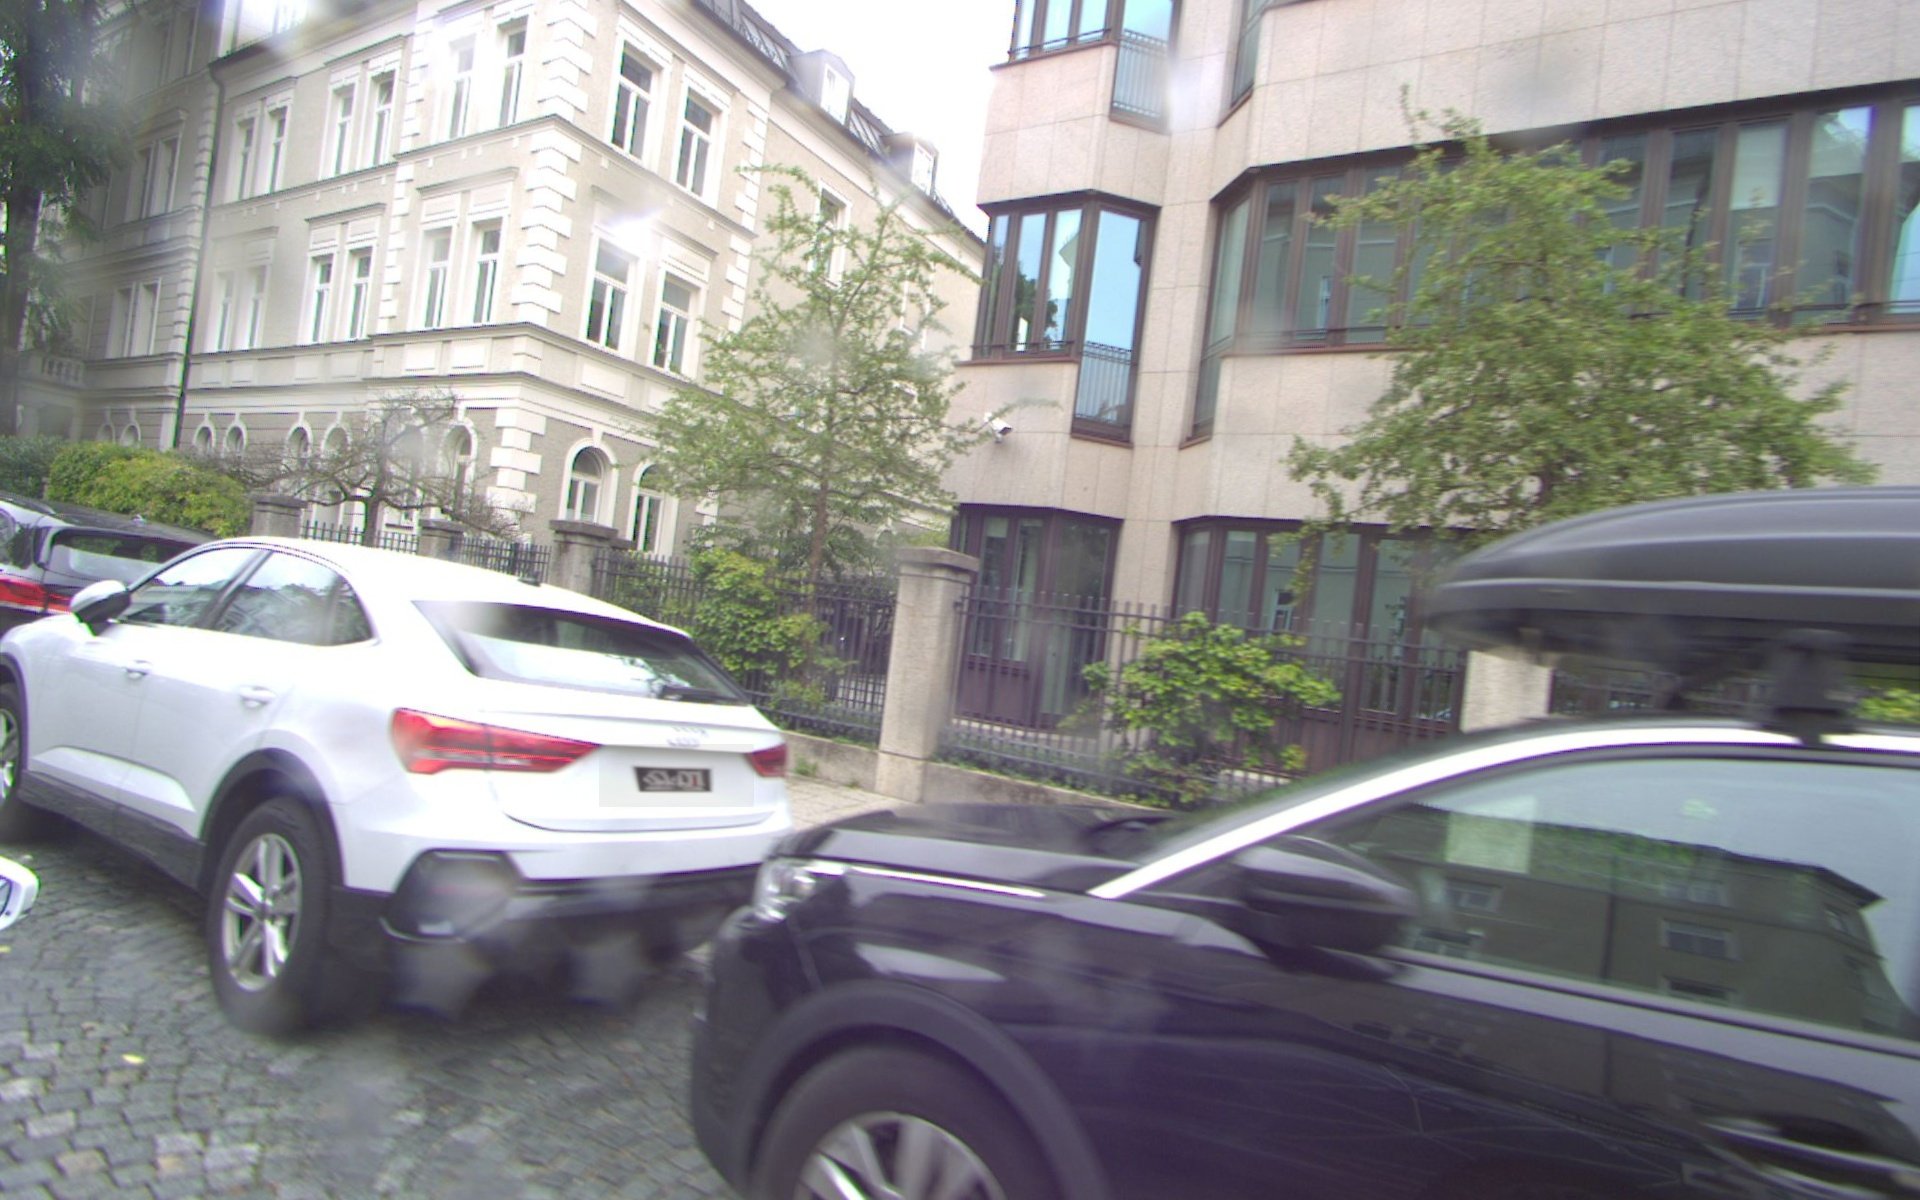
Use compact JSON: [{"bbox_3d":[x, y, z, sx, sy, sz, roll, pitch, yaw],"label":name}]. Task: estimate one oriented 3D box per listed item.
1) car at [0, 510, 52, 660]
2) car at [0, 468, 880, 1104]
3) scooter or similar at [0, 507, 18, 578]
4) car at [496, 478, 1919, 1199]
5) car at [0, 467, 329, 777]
[{"bbox_3d":[-11.452,-0.436,10.347,3.990,1.455,1.701,7,-4,27],"label":"car"},{"bbox_3d":[-2.813,0.413,4.576,4.542,1.506,1.878,7,-4,34],"label":"car"},{"bbox_3d":[-17.776,-1.086,18.278,1.223,1.251,0.415,7,3,20],"label":"scooter or similar"},{"bbox_3d":[1.513,0.952,2.028,4.666,1.752,1.881,7,-5,29],"label":"car"},{"bbox_3d":[-6.867,0.007,7.299,4.580,1.687,1.879,6,-4,32],"label":"car"}]
